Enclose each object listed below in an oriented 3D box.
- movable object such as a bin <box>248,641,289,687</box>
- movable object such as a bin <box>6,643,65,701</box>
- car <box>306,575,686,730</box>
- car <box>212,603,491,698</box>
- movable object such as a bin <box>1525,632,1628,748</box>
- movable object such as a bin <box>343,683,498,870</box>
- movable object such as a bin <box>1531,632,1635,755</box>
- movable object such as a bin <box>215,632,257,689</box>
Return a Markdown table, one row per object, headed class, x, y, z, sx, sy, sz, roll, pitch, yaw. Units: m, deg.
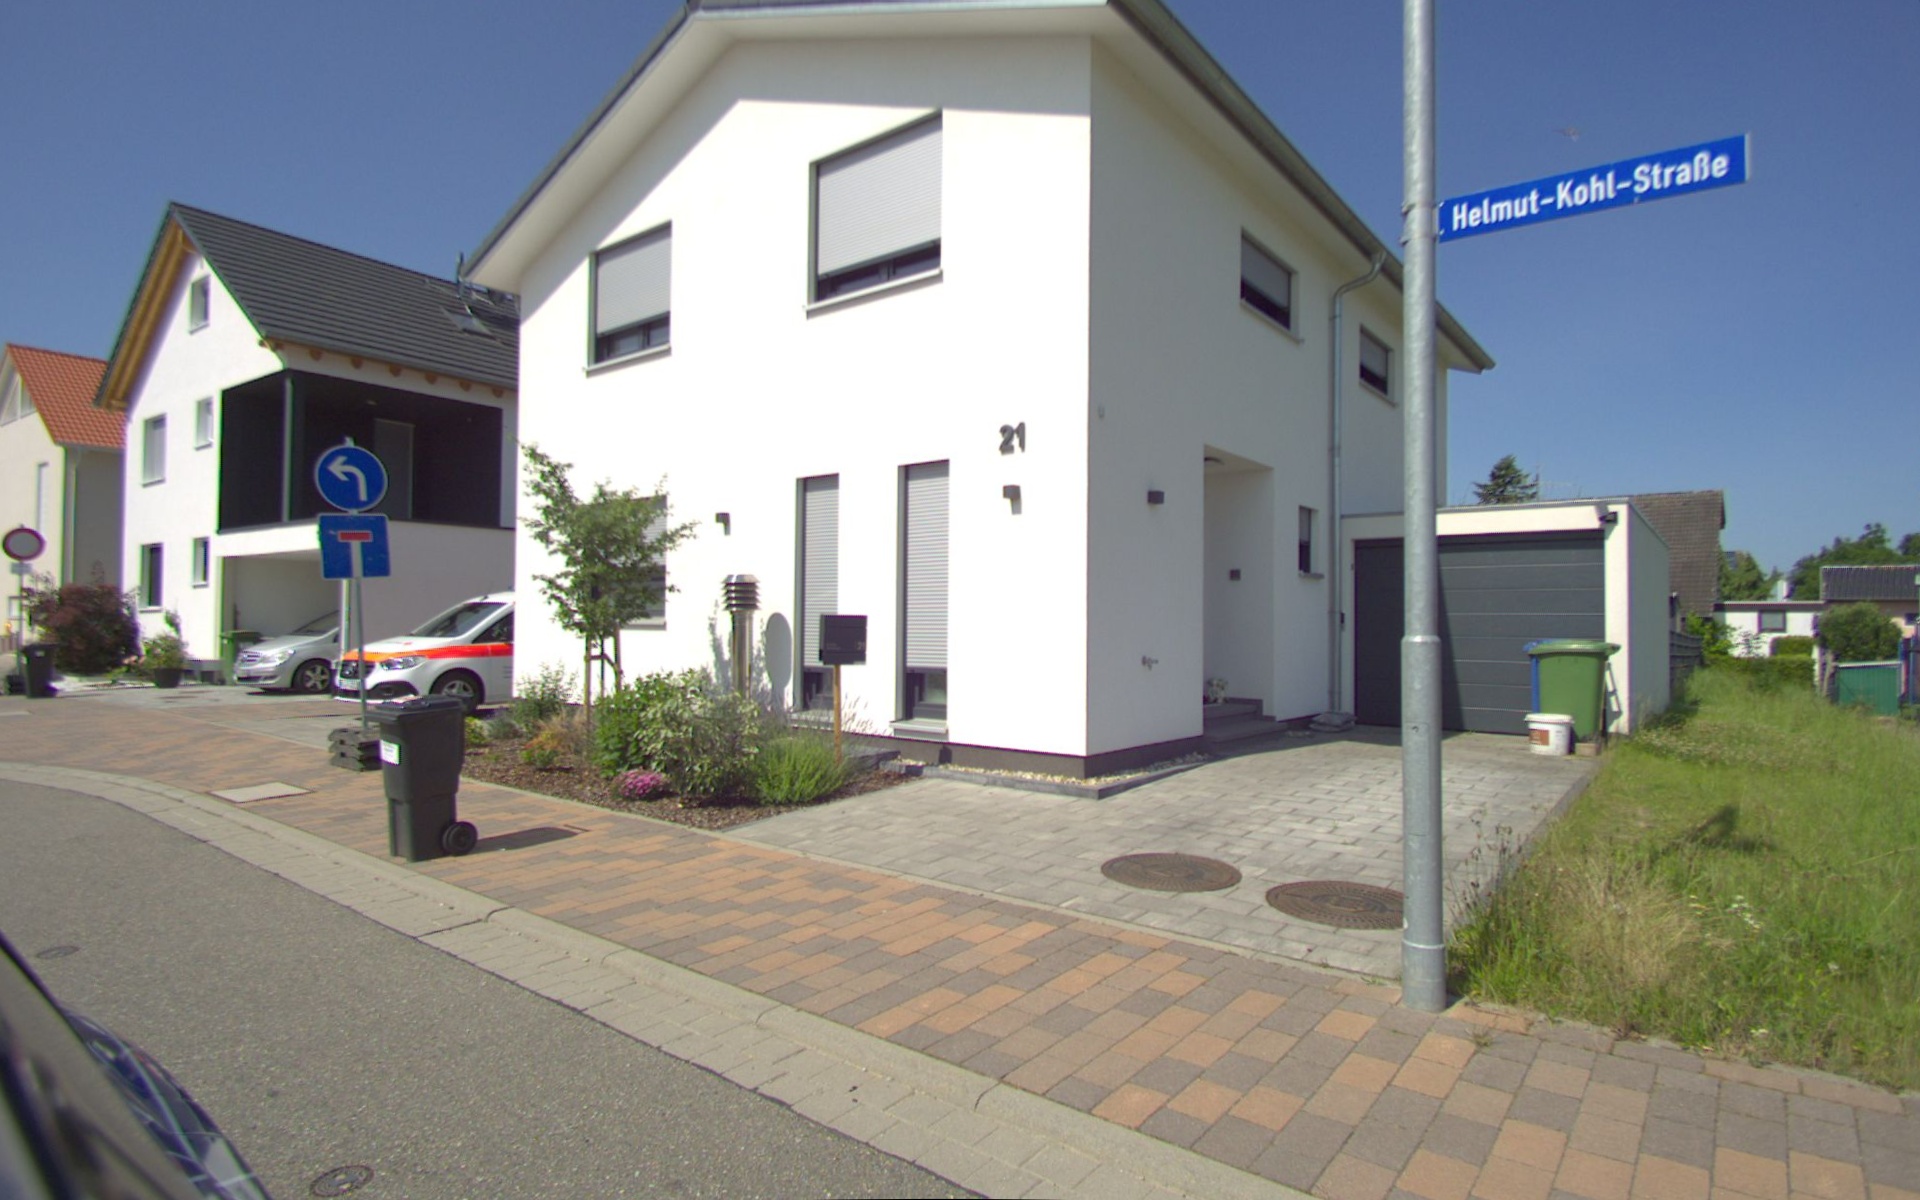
| class | x | y | z | sx | sy | sz | roll | pitch | yaw |
| --- | --- | --- | --- | --- | --- | --- | --- | --- | --- |
| movable object such as a bin | -14.059 | 1.293 | 20.570 | 0.560 | 0.912 | 0.494 | 0 | -1 | 34 |
| movable object such as a bin | -15.669 | 1.215 | 17.151 | 0.563 | 0.944 | 0.611 | -2 | -2 | 34 |
| car | -6.526 | 0.725 | 14.800 | 1.934 | 1.889 | 4.694 | -1 | -2 | 36 |
| car | -11.224 | 0.922 | 18.959 | 1.740 | 1.574 | 4.119 | -1 | -3 | 33 |
| movable object such as a bin | 6.273 | 0.892 | 10.294 | 0.807 | 1.107 | 0.663 | -1 | -3 | 40 |
| movable object such as a bin | -3.122 | 0.986 | 5.873 | 0.499 | 0.955 | 0.618 | 0 | -1 | 34 |
| movable object such as a bin | 5.989 | 0.875 | 9.728 | 0.784 | 1.107 | 0.653 | -1 | -3 | 38 |
| movable object such as a bin | -14.350 | 1.194 | 20.052 | 0.600 | 1.100 | 0.494 | -3 | -3 | 34 |
